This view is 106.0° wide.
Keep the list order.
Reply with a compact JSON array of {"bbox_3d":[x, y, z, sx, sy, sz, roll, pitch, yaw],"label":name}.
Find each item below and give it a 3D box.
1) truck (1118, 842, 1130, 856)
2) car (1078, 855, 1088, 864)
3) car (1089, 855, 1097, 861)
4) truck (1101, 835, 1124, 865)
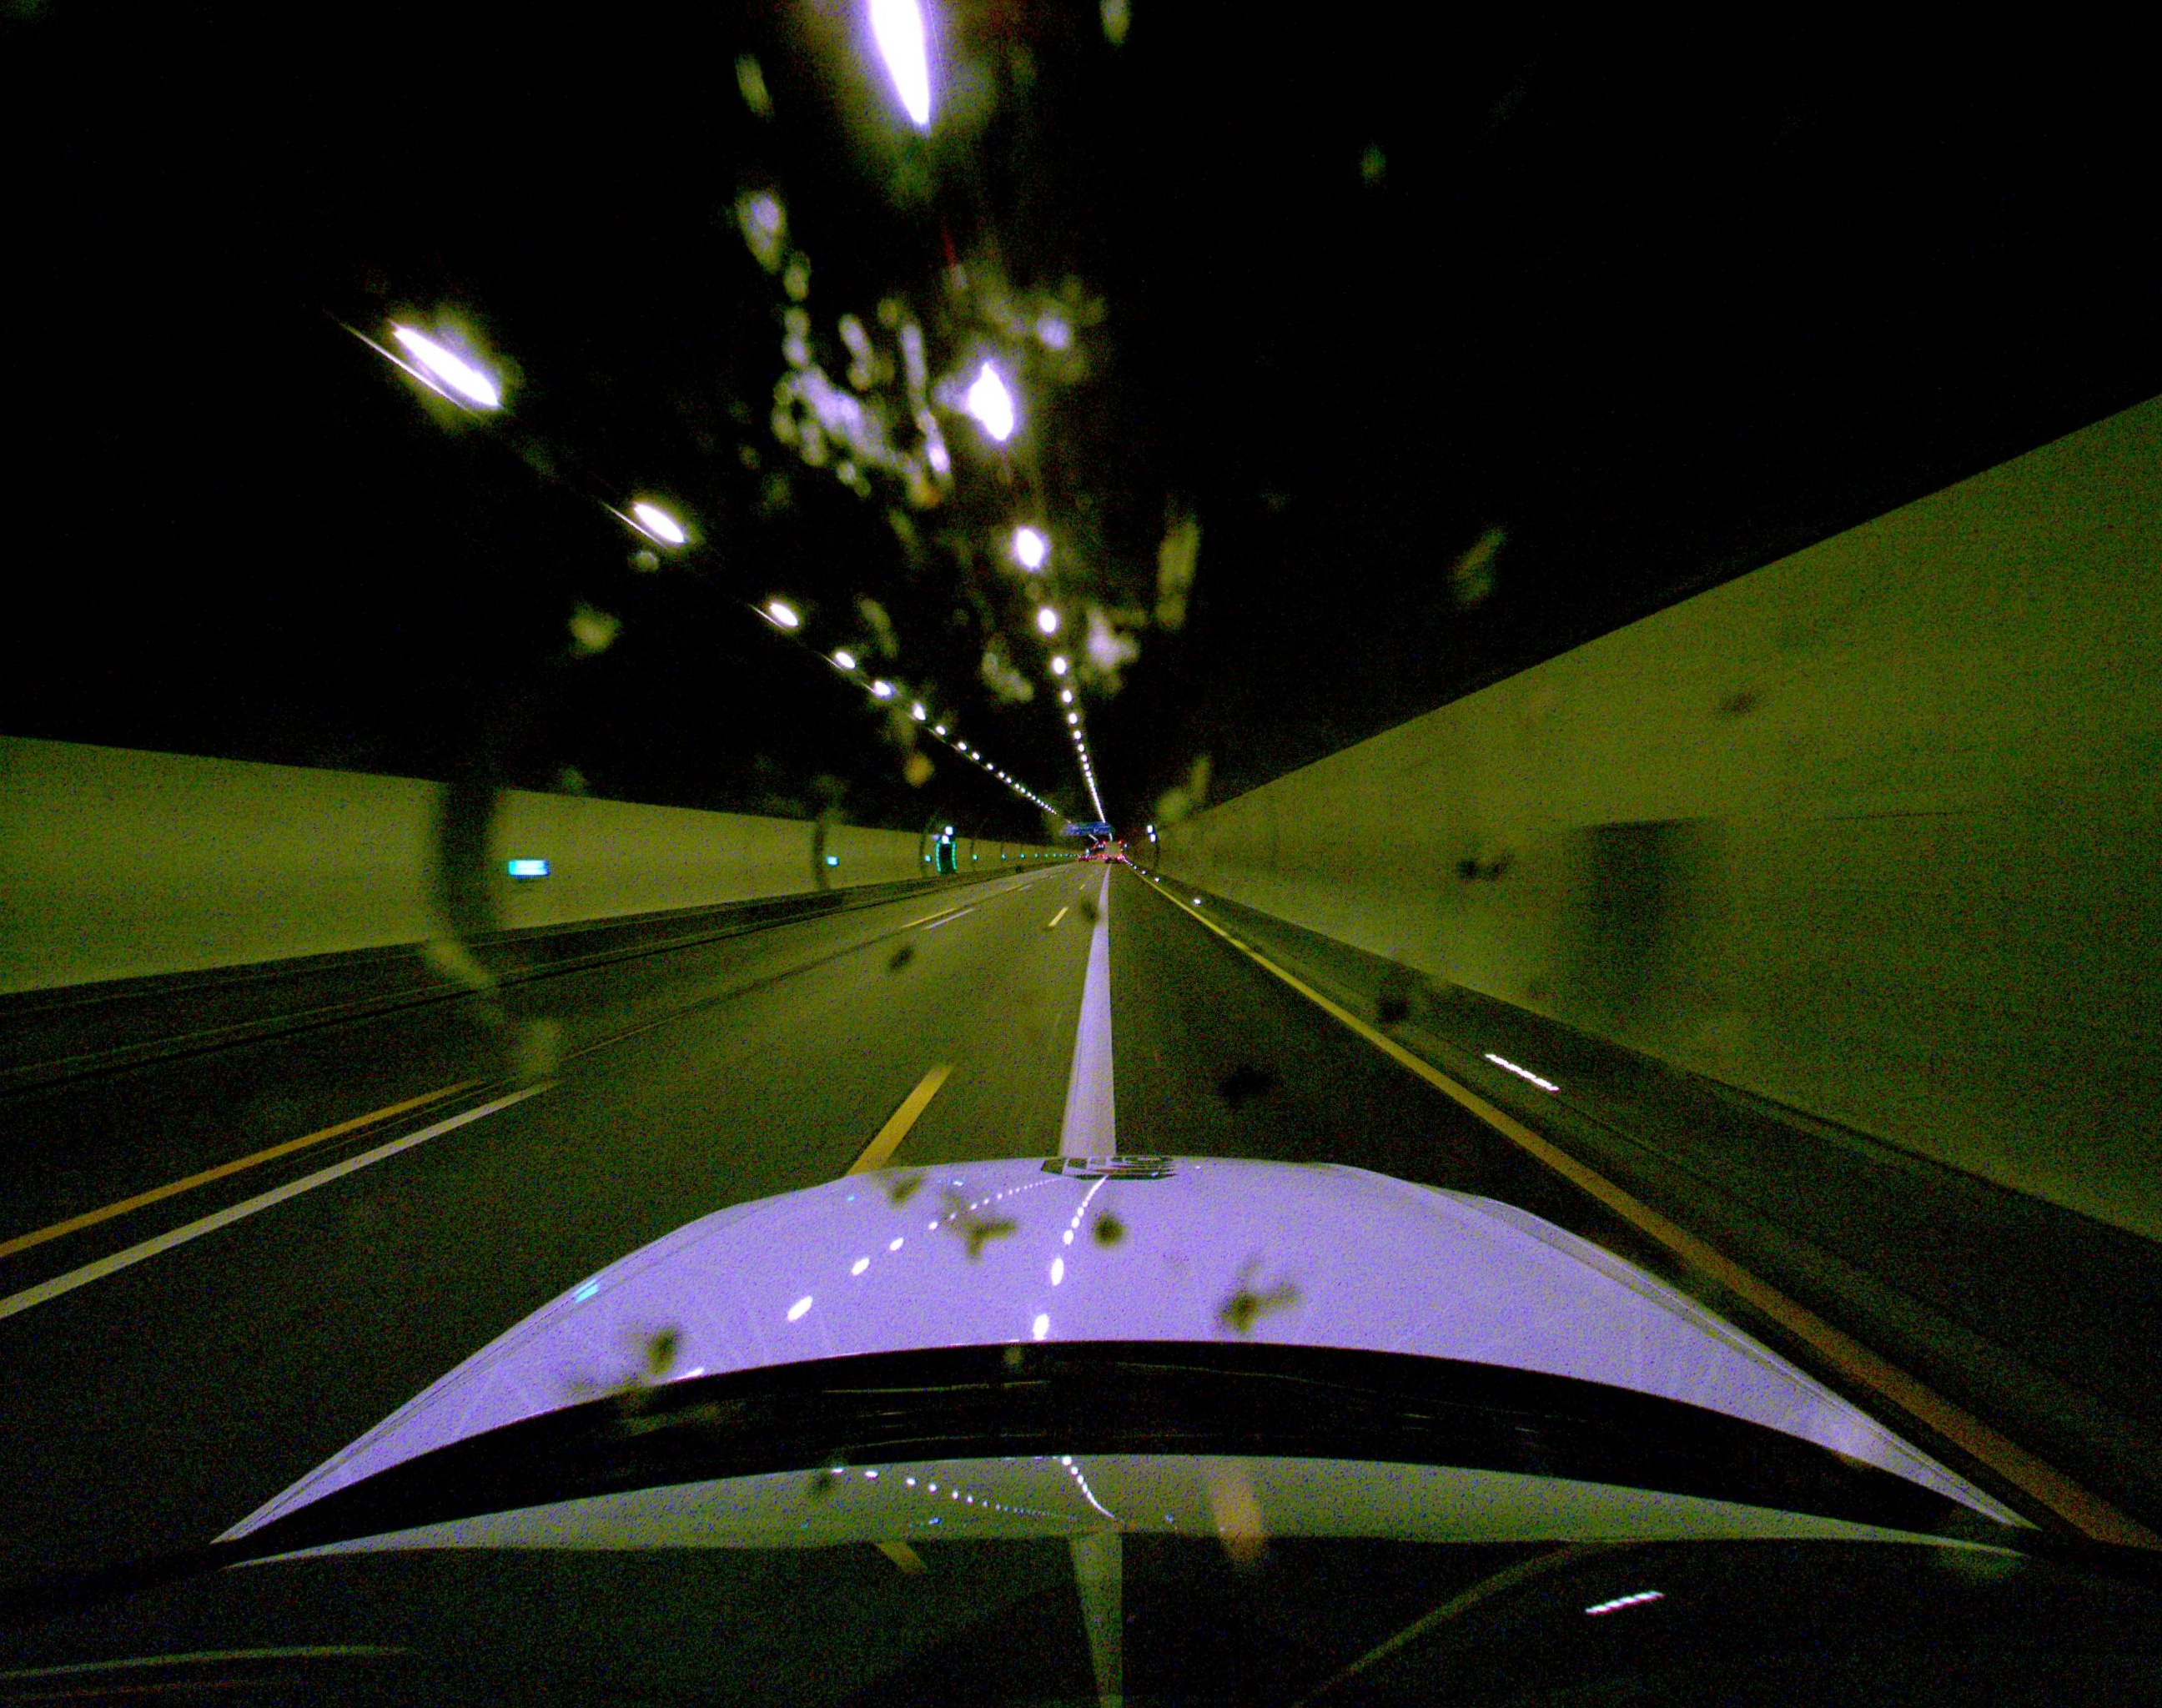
[{"bbox_3d":[13.190,-1.375,249.622,2.912,4.048,14.031,-2,0,1],"label":"truck"},{"bbox_3d":[0.440,1.055,155.972,1.807,1.618,4.000,0,0,0],"label":"car"},{"bbox_3d":[3.136,0.958,211.779,1.807,1.520,3.999,0,1,-1],"label":"car"},{"bbox_3d":[5.110,-0.622,136.416,3.267,4.650,17.287,-2,0,1],"label":"truck"}]
